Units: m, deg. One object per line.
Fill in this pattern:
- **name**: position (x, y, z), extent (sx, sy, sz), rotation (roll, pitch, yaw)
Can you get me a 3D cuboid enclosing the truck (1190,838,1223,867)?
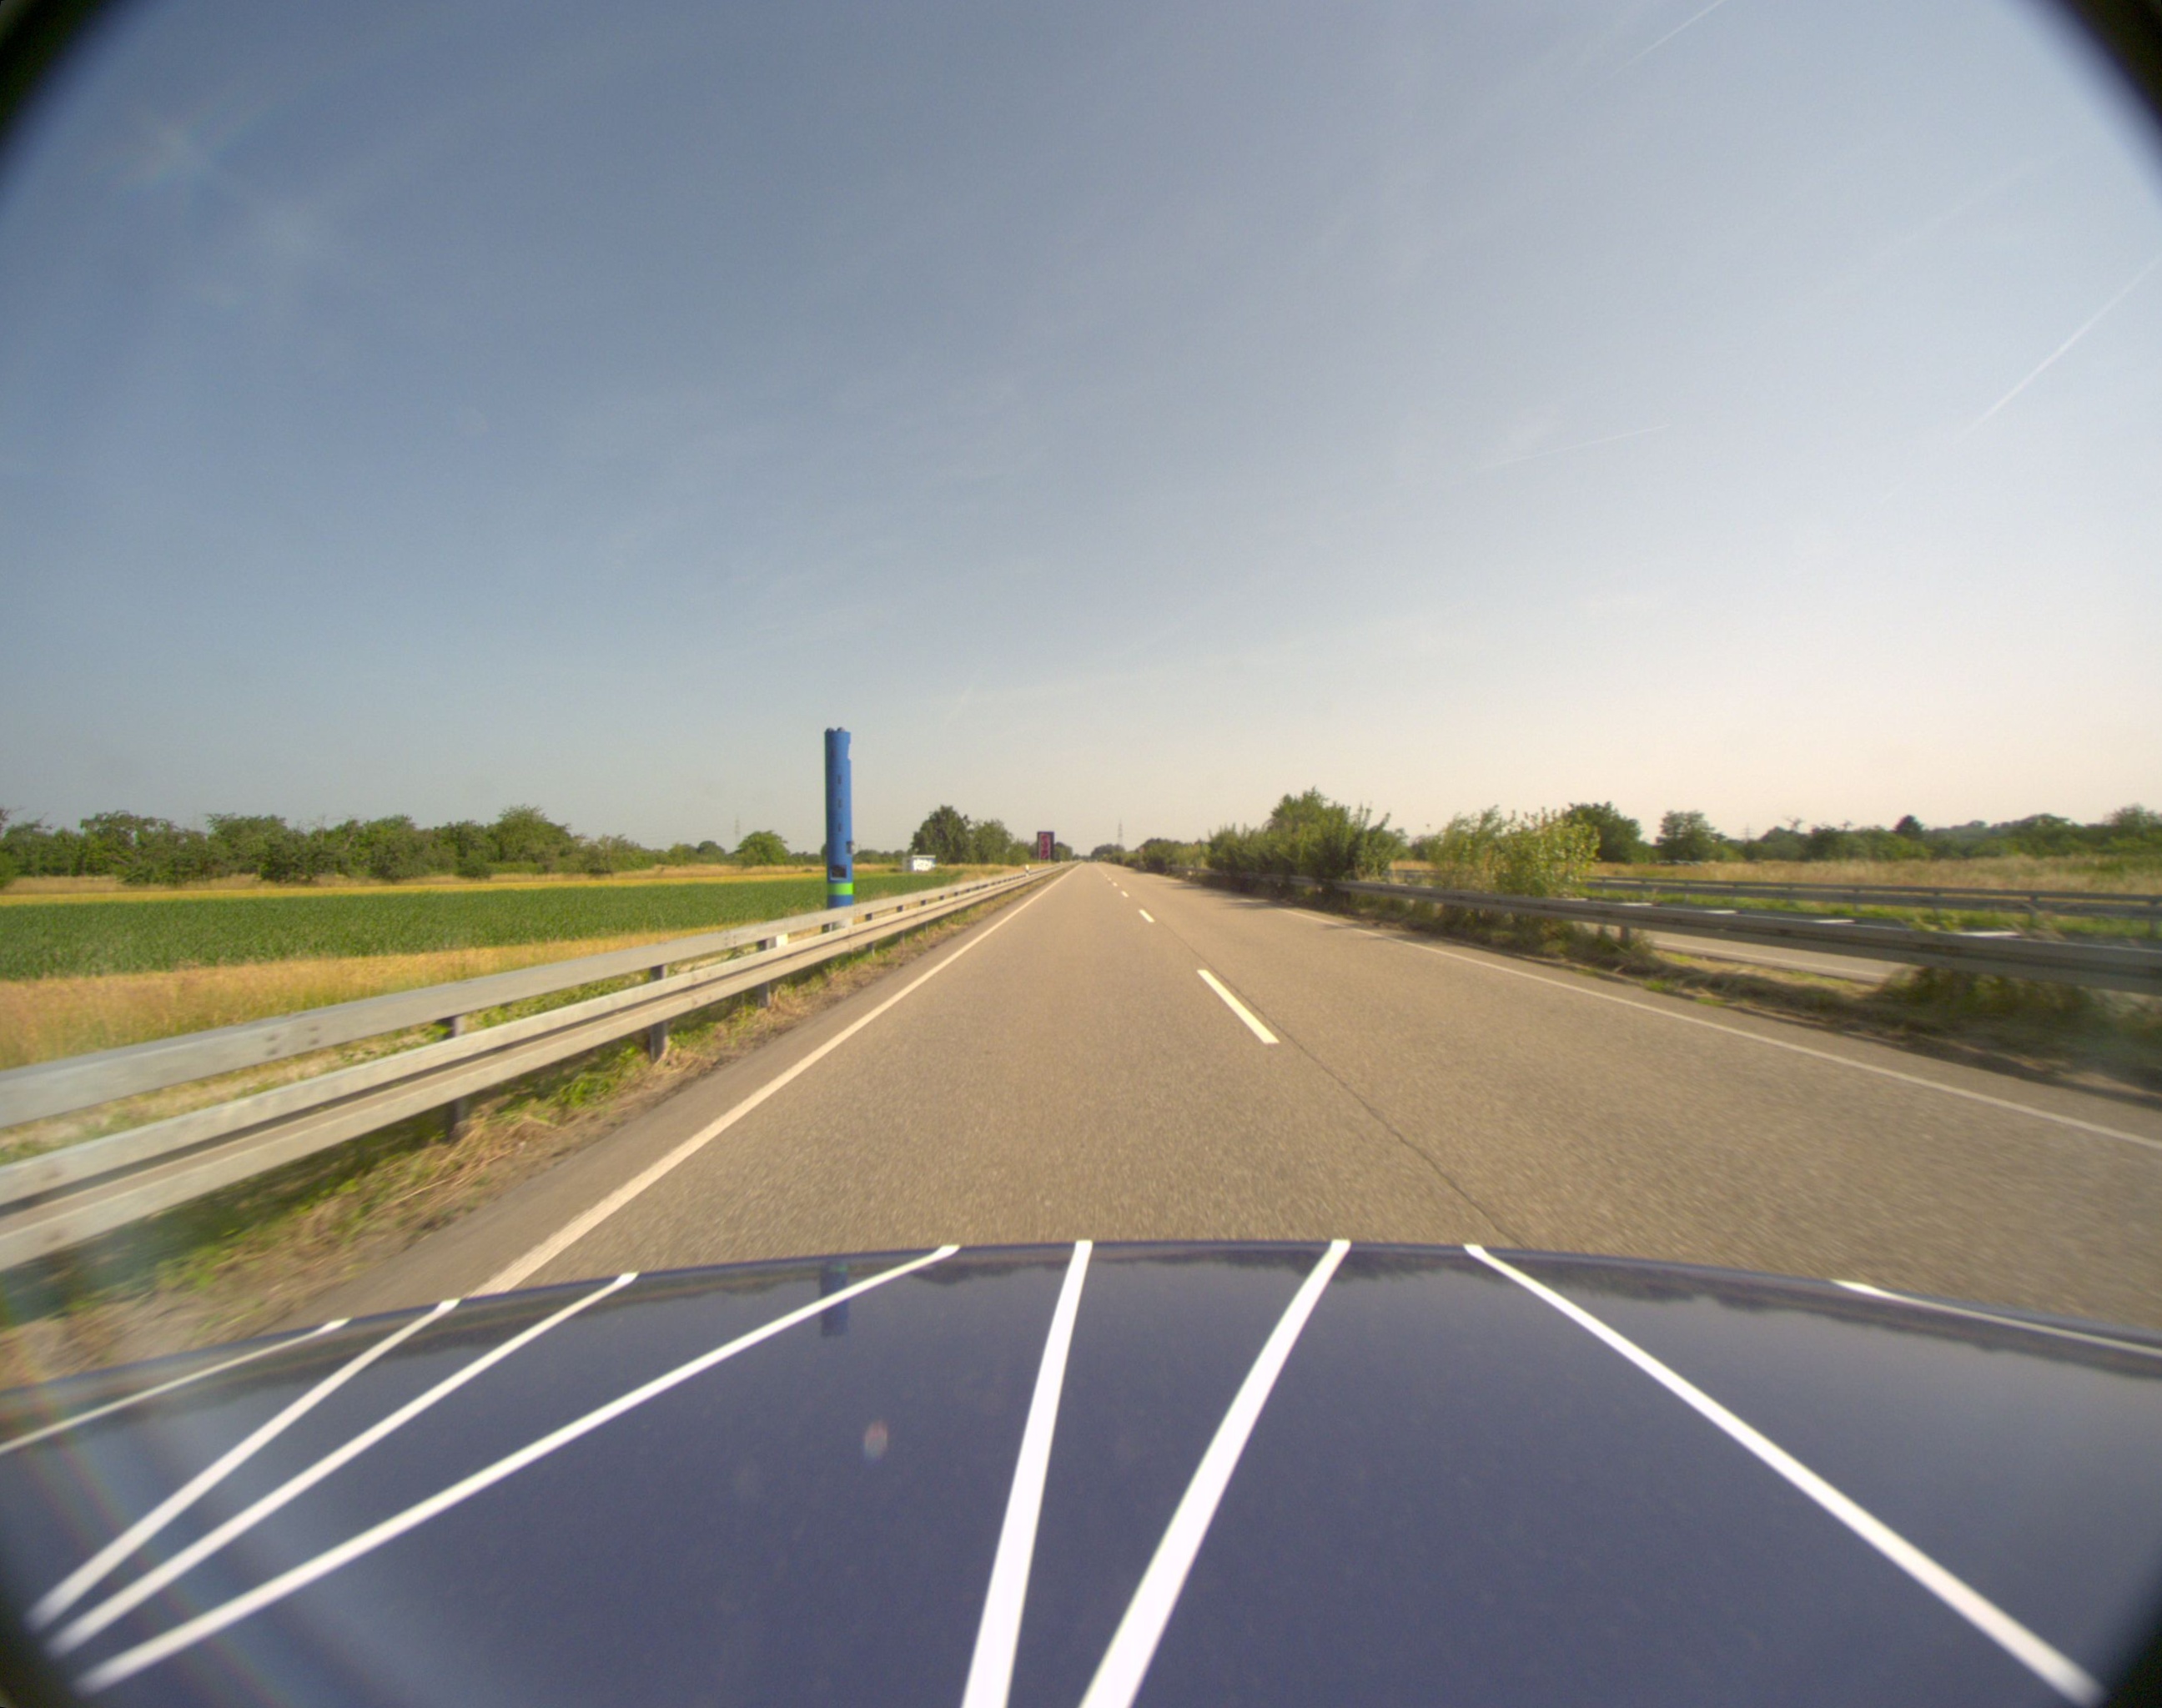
- **truck**: position (16.088, -0.192, 98.076), extent (2.609, 3.568, 10.385), rotation (-1, 0, 1)
